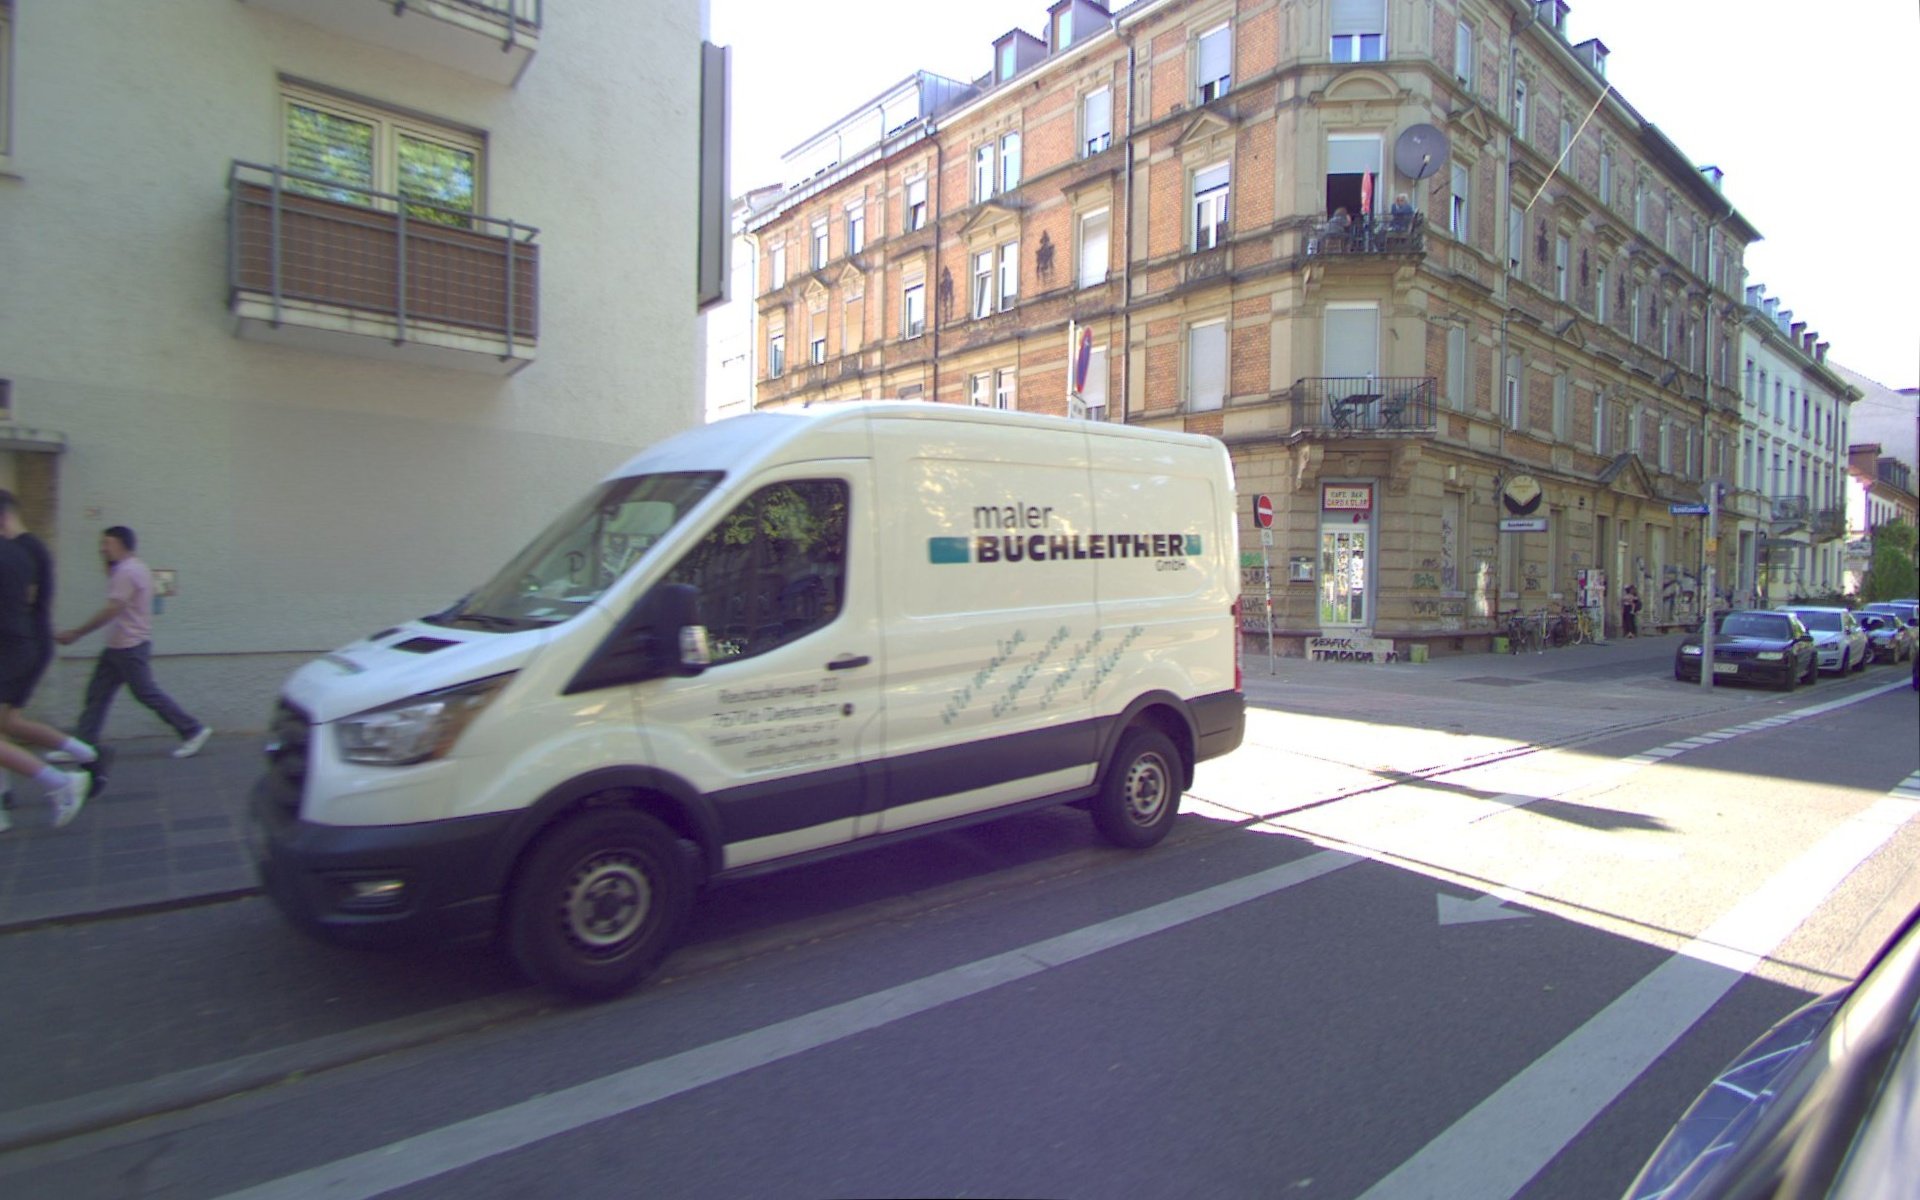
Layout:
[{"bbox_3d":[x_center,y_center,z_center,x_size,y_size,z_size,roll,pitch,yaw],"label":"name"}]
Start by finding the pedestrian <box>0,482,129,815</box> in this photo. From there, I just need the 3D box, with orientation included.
[{"bbox_3d":[-5.504,0.257,5.846,1.062,1.845,0.627,-1,3,-38],"label":"pedestrian"}]

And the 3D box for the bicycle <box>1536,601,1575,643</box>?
[{"bbox_3d":[14.976,0.546,25.440,1.347,1.013,0.379,0,1,-39],"label":"bicycle"}]

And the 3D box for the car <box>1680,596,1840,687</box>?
[{"bbox_3d":[15.183,0.698,19.139,3.990,1.438,1.652,-1,4,-42],"label":"car"}]

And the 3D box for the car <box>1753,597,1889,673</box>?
[{"bbox_3d":[19.166,0.705,22.477,3.942,1.438,1.606,0,3,-40],"label":"car"}]

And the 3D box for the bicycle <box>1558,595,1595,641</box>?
[{"bbox_3d":[16.172,0.468,26.539,1.347,1.168,0.379,0,1,-39],"label":"bicycle"}]

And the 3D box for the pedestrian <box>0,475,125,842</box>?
[{"bbox_3d":[-5.091,0.283,5.313,1.062,1.845,0.711,-1,3,-38],"label":"pedestrian"}]

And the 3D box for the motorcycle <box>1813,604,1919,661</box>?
[{"bbox_3d":[22.220,0.773,24.624,2.121,1.305,0.636,1,1,29],"label":"motorcycle"}]

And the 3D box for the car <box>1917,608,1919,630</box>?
[{"bbox_3d":[37.756,0.409,38.357,3.839,1.523,1.635,0,6,-41],"label":"car"}]

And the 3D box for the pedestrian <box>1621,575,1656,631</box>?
[{"bbox_3d":[20.851,0.080,31.103,0.753,1.677,0.716,0,1,-41],"label":"pedestrian"}]

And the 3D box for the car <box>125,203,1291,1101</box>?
[{"bbox_3d":[-0.754,0.107,5.628,5.981,2.526,2.153,0,1,-41],"label":"car"}]

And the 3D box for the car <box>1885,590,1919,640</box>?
[{"bbox_3d":[31.653,0.495,33.197,2.770,1.561,1.514,0,3,-40],"label":"car"}]

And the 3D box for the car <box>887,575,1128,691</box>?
[{"bbox_3d":[0.650,0.428,15.927,1.758,1.594,3.658,1,1,-40],"label":"car"}]

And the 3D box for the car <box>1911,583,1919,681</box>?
[{"bbox_3d":[19.268,0.607,18.608,4.545,1.726,1.949,1,-1,-38],"label":"car"}]

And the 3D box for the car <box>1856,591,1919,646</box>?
[{"bbox_3d":[28.229,0.514,30.189,3.673,1.469,1.611,0,3,-39],"label":"car"}]

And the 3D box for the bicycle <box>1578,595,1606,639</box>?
[{"bbox_3d":[17.116,0.445,27.396,1.118,1.168,0.274,0,1,-39],"label":"bicycle"}]

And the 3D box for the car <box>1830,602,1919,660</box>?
[{"bbox_3d":[24.380,0.756,26.660,3.659,1.288,1.653,-1,4,-41],"label":"car"}]

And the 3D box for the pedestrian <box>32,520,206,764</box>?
[{"bbox_3d":[-5.987,0.264,7.258,0.916,1.598,0.634,-1,7,-38],"label":"pedestrian"}]
